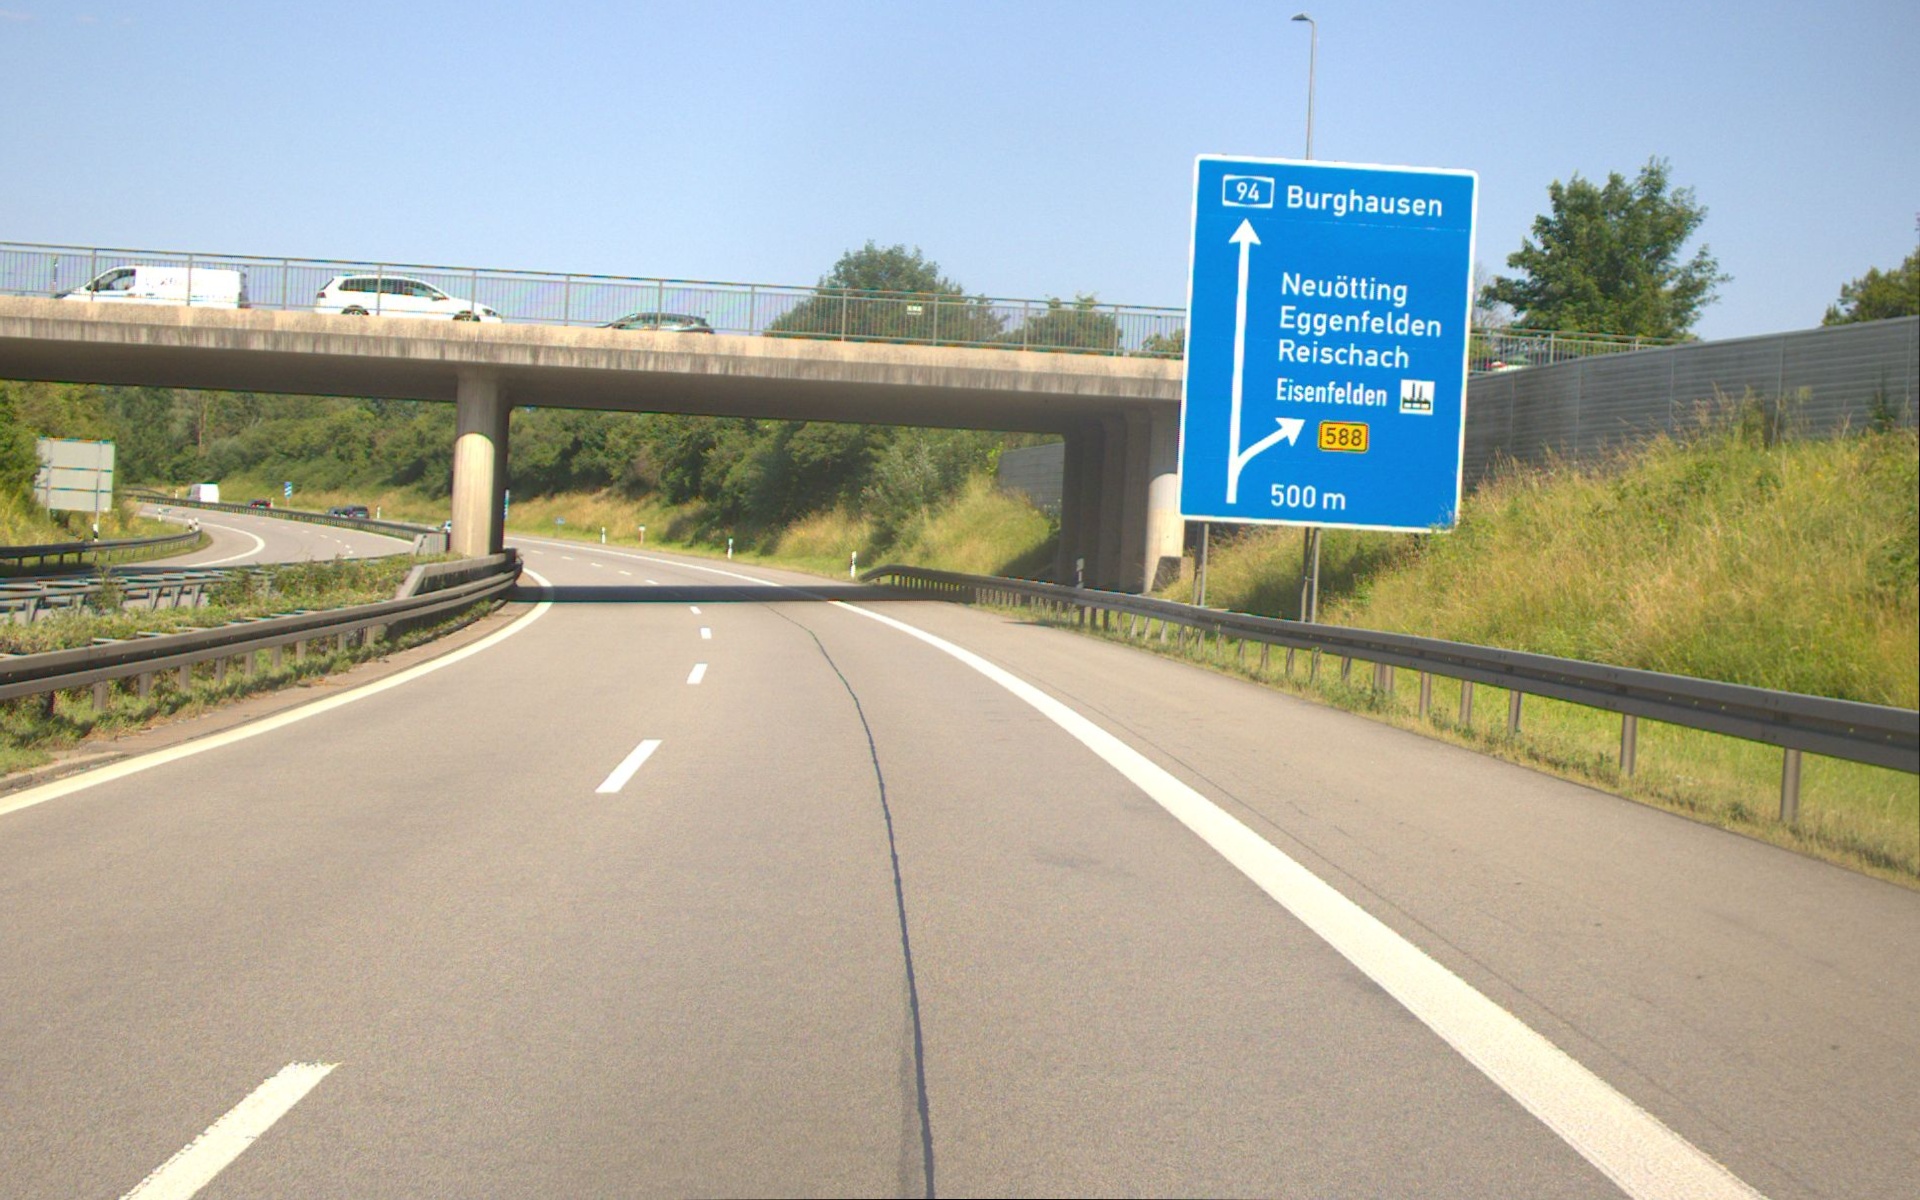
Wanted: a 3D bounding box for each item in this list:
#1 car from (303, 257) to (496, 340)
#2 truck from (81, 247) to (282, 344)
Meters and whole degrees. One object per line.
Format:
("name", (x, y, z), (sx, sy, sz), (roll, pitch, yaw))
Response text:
("car", (-13.472, -7.256, 82.839), (4.400, 1.592, 2.000), (3, 0, -6))
("truck", (-19.895, -7.775, 88.011), (4.855, 2.160, 2.000), (1, 0, -9))
